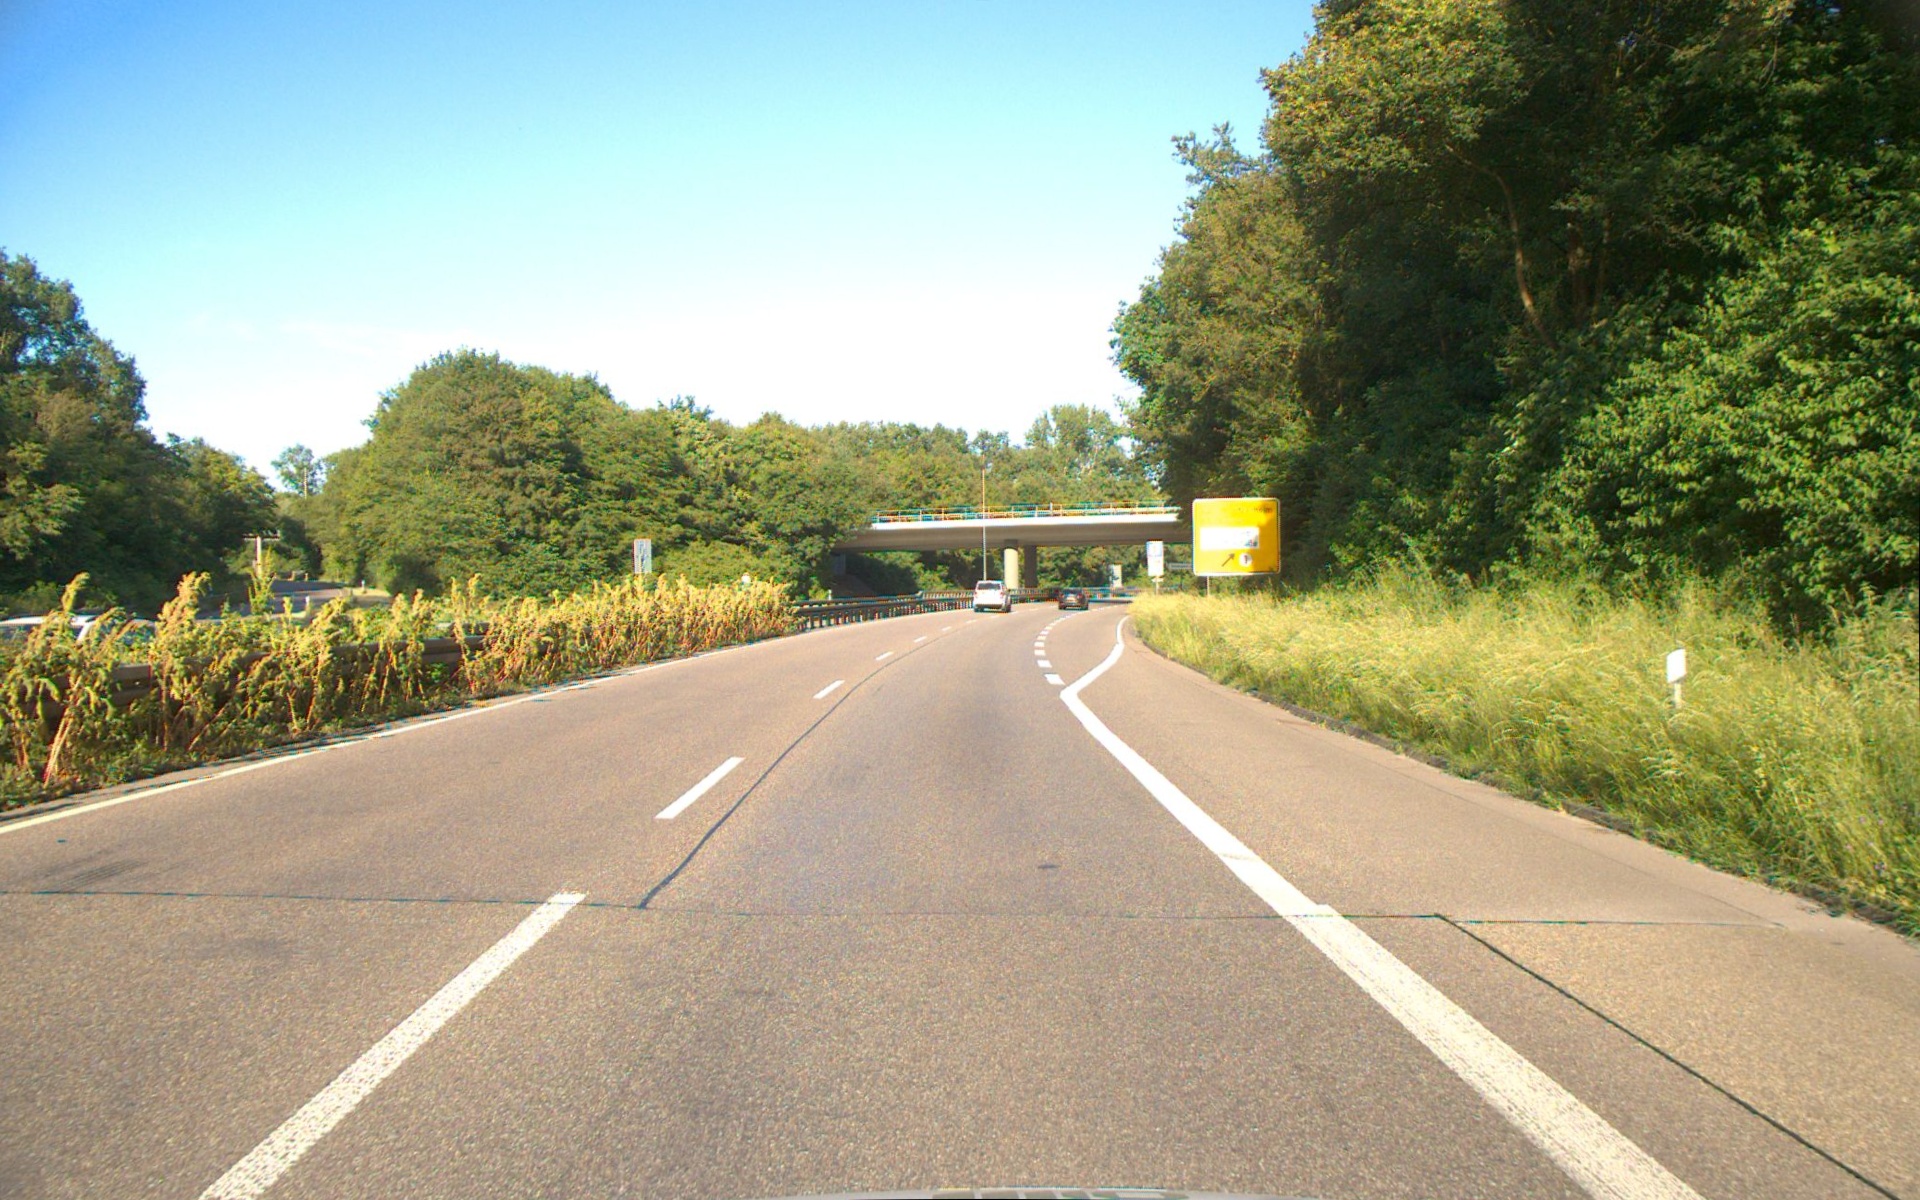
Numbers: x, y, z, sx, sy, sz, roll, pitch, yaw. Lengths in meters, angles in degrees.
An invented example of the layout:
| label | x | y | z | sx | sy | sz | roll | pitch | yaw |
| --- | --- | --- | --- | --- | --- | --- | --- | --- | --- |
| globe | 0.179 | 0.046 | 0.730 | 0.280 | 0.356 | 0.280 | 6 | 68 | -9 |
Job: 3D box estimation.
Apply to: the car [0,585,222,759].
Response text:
| label | x | y | z | sx | sy | sz | roll | pitch | yaw |
| --- | --- | --- | --- | --- | --- | --- | --- | --- | --- |
| car | -11.776 | 0.835 | 21.877 | 2.042 | 2.049 | 4.533 | 0 | 1 | -1 |

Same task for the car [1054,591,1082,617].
| label | x | y | z | sx | sy | sz | roll | pitch | yaw |
| --- | --- | --- | --- | --- | --- | --- | --- | --- | --- |
| car | 7.184 | 0.260 | 110.519 | 1.703 | 1.691 | 3.946 | 0 | 0 | 1 |

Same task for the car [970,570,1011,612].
| label | x | y | z | sx | sy | sz | roll | pitch | yaw |
| --- | --- | --- | --- | --- | --- | --- | --- | --- | --- |
| car | 1.791 | -0.520 | 94.575 | 1.951 | 2.317 | 4.003 | 0 | 0 | 7 |
